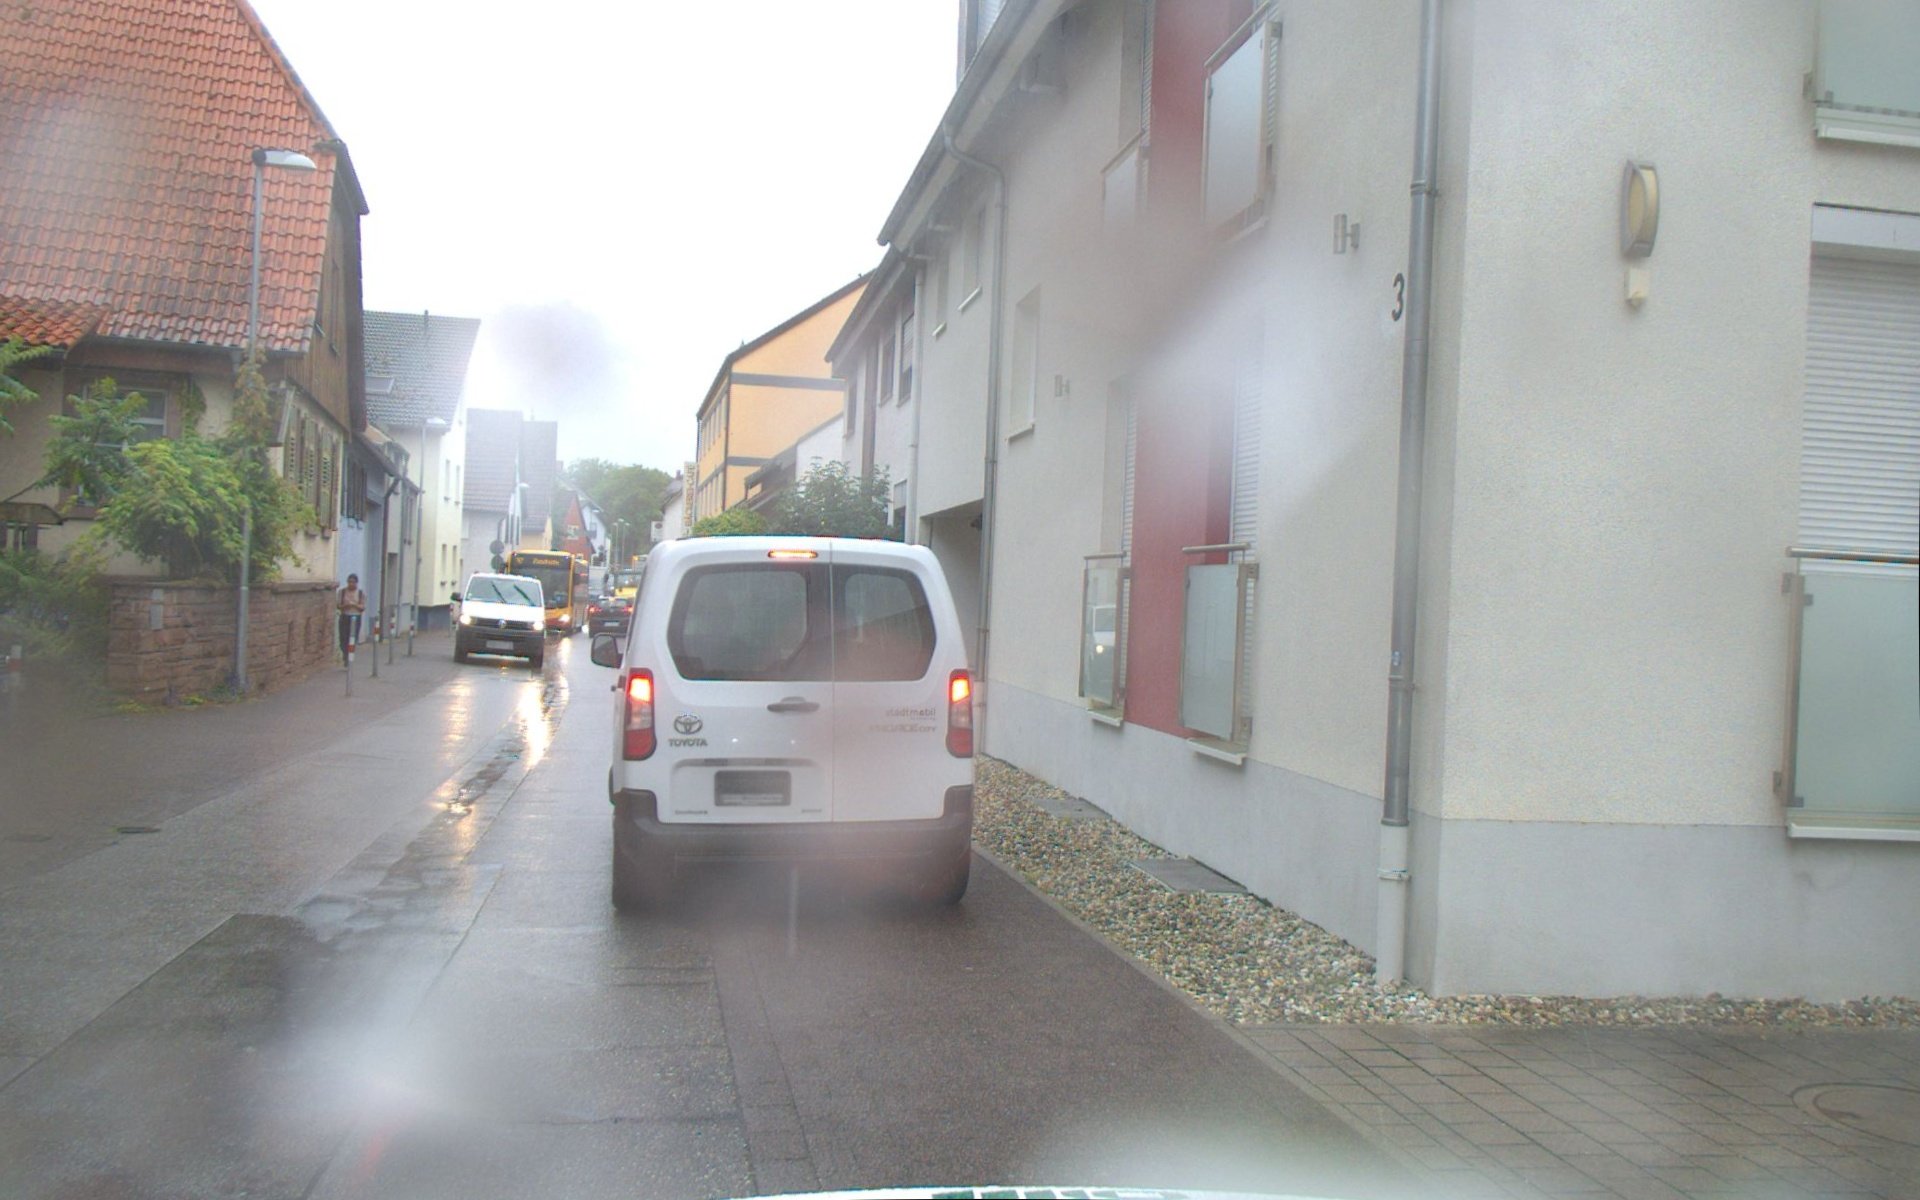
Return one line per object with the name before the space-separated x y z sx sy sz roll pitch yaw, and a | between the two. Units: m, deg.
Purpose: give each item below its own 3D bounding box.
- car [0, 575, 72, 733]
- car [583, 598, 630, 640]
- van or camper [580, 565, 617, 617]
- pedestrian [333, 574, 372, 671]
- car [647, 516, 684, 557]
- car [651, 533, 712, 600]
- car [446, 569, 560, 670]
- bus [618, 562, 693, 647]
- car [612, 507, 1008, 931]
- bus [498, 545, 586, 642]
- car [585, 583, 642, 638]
car | -10.333 0.407 15.153 3.463 1.400 1.591 3 0 -10
car | -12.892 0.704 60.470 1.534 1.395 3.575 4 -1 -11
van or camper | -22.207 -0.497 101.729 1.802 2.976 5.350 3 -1 -10
pedestrian | -9.935 0.362 27.066 0.559 1.557 0.566 1 -1 -21
car | -16.837 -3.604 94.557 1.958 2.049 3.990 4 -1 -10
car | -9.480 -1.098 56.055 1.795 2.049 3.683 4 -1 -12
car | -10.082 0.433 36.783 1.858 2.001 4.712 4 -1 -10
bus | -13.077 0.221 70.600 2.744 3.235 8.154 4 -1 -12
car | -1.060 0.545 9.430 1.763 1.850 4.089 1 -1 -12
bus | -16.319 -0.193 65.048 2.744 3.387 8.154 4 -1 -12
car | -10.522 0.328 50.360 1.534 1.506 3.575 4 -1 -11
